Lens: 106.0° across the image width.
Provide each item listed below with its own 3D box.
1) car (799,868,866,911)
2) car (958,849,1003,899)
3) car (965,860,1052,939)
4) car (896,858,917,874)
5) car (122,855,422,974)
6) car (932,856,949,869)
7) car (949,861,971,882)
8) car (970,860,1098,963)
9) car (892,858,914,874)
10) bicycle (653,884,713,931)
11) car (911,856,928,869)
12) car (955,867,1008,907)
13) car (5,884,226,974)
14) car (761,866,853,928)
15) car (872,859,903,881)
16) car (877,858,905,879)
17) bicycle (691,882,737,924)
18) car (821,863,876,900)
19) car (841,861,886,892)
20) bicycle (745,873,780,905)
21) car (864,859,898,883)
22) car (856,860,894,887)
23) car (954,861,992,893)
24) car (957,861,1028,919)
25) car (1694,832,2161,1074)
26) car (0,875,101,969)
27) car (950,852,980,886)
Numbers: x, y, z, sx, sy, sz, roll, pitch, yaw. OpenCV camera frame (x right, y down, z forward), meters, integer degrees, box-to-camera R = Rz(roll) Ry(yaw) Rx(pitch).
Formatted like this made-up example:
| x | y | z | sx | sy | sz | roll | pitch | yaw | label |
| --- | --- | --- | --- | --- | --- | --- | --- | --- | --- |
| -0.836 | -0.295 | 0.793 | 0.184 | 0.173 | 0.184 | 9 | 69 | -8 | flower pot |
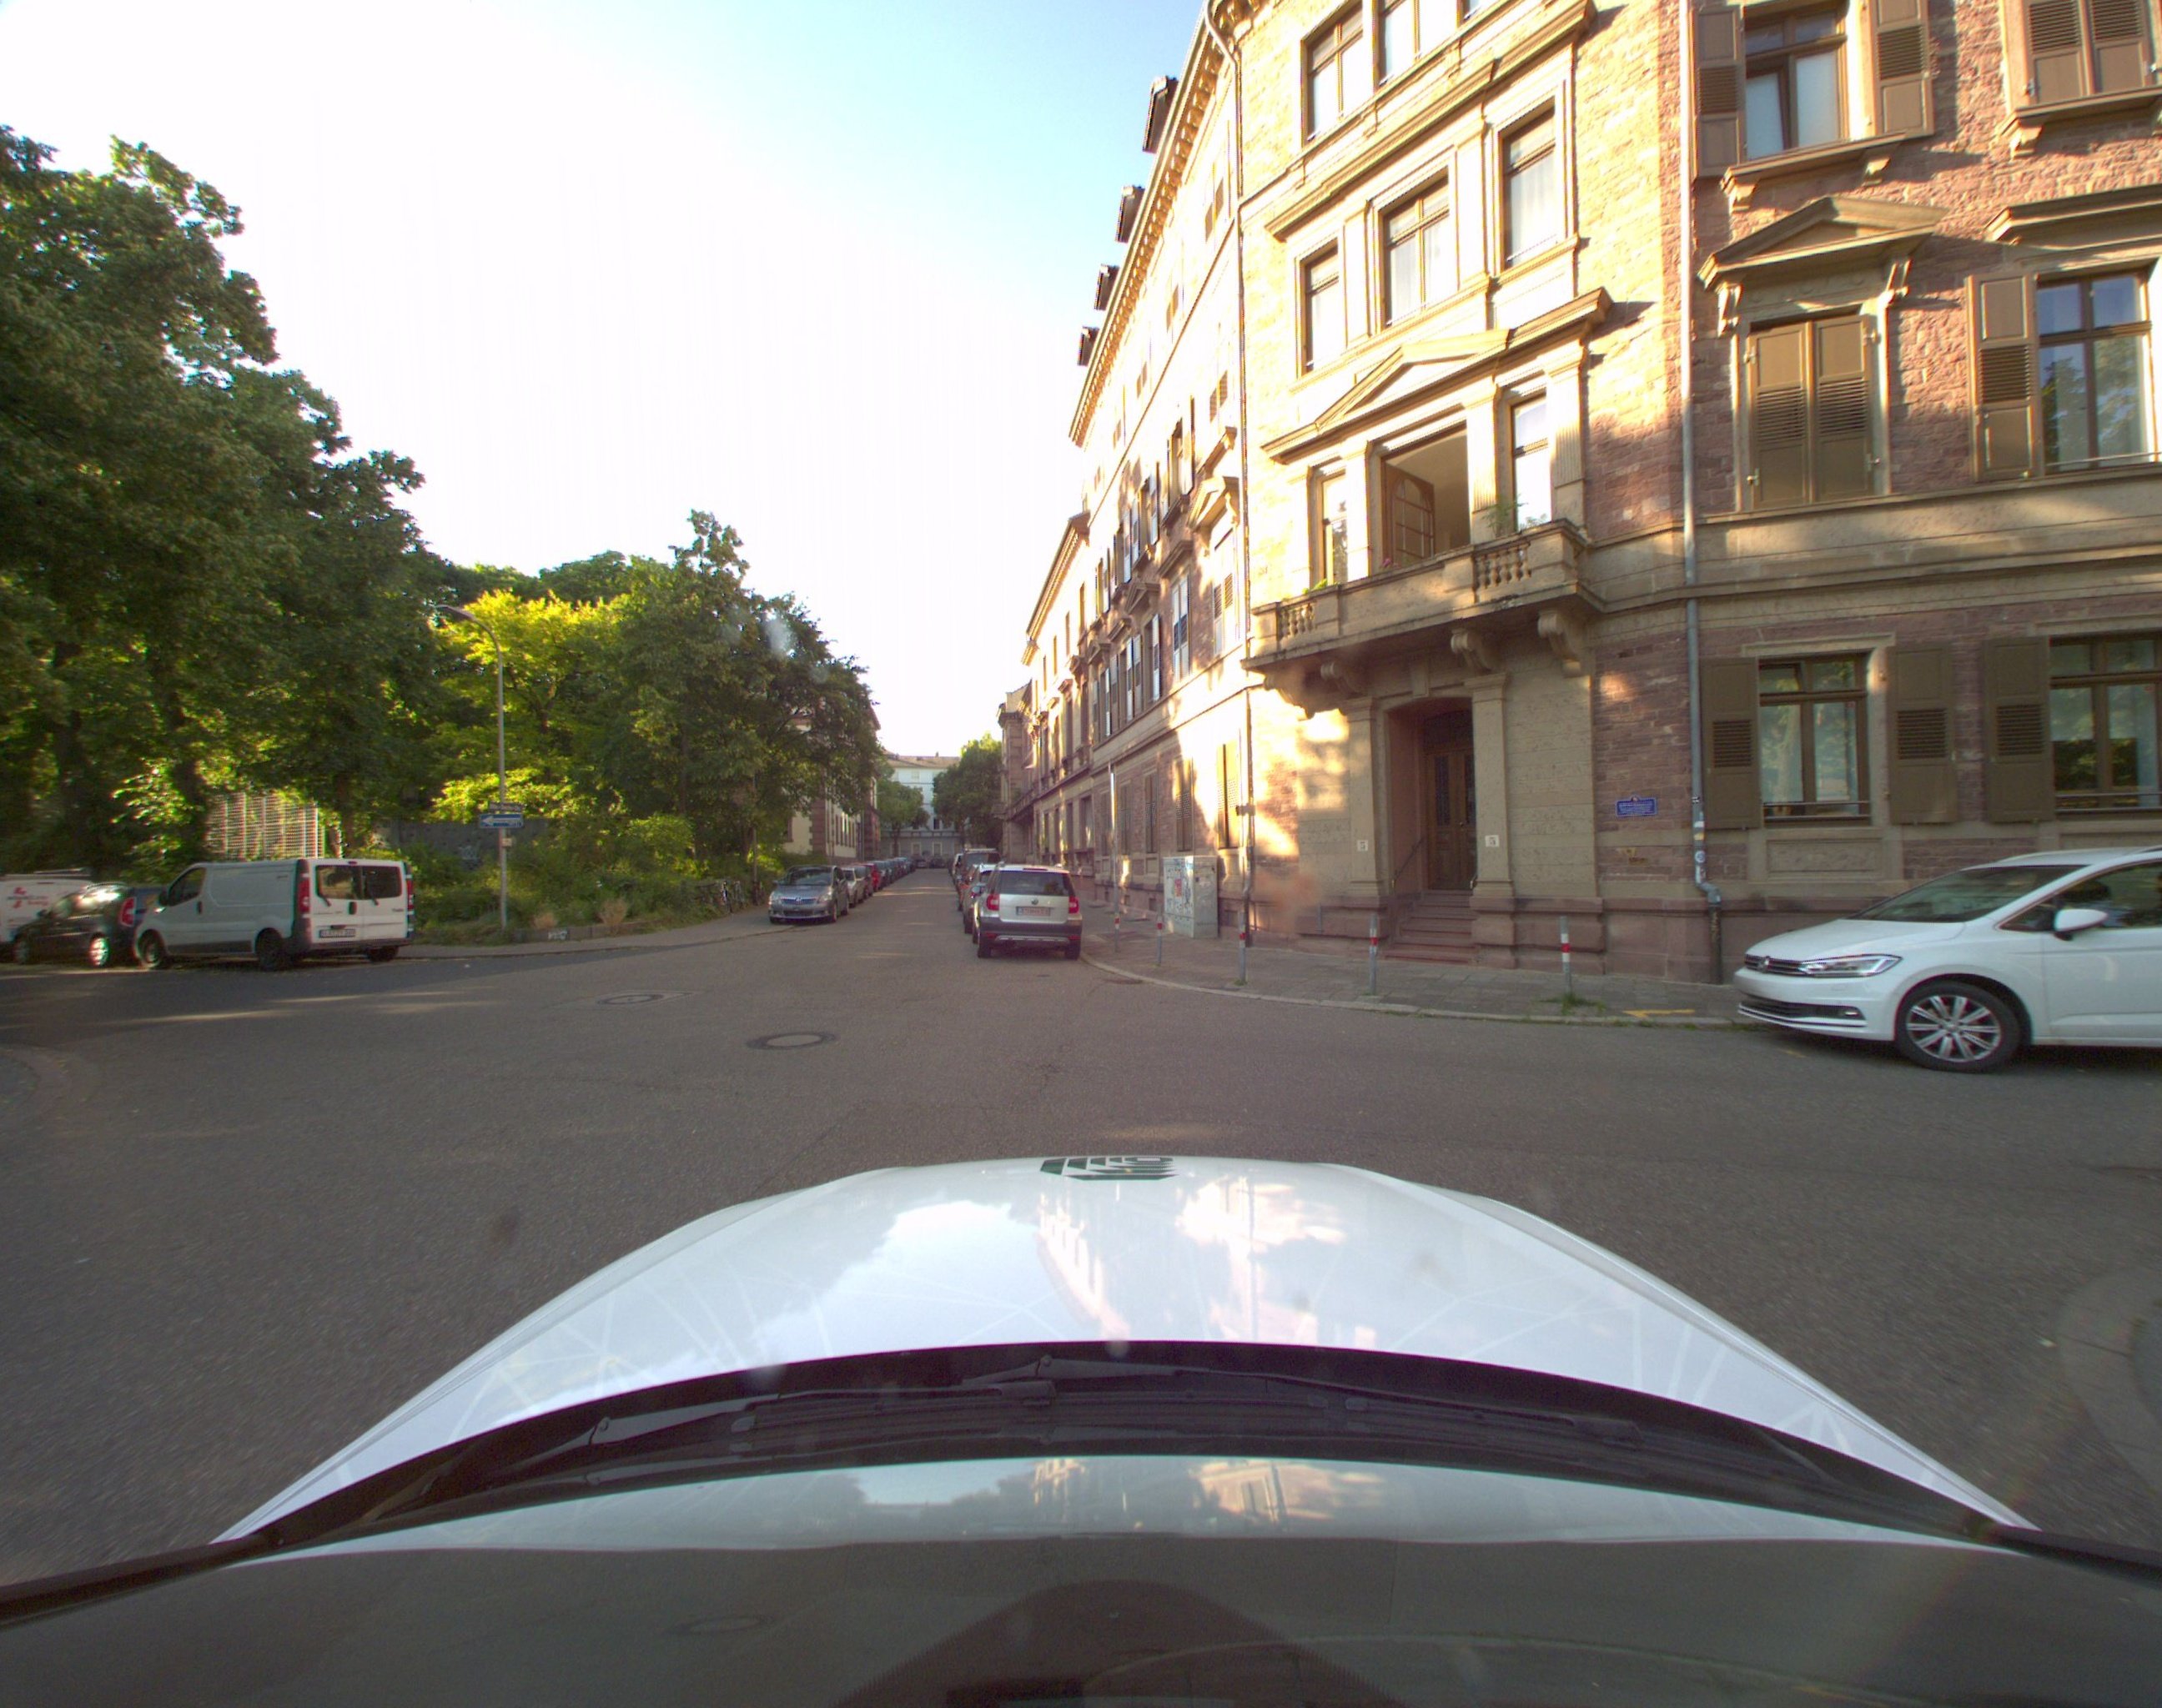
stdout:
| x | y | z | sx | sy | sz | roll | pitch | yaw | label |
| --- | --- | --- | --- | --- | --- | --- | --- | --- | --- |
| -9.279 | 1.281 | 30.692 | 1.825 | 1.447 | 3.919 | 2 | -1 | -9 | car |
| -4.554 | 0.872 | 36.635 | 1.797 | 2.072 | 3.942 | 2 | -1 | -9 | car |
| -1.930 | 1.039 | 20.528 | 1.825 | 1.724 | 4.529 | 2 | -1 | -9 | car |
| -18.054 | 1.240 | 84.513 | 1.825 | 1.500 | 3.919 | 2 | -1 | -9 | car |
| -15.185 | 1.079 | 15.343 | 4.609 | 2.003 | 1.959 | -1 | 0 | 16 | car |
| -19.604 | 1.212 | 113.300 | 1.997 | 1.684 | 3.979 | 0 | -2 | -15 | car |
| -10.352 | 1.459 | 69.516 | 1.797 | 1.728 | 3.942 | 2 | -1 | -9 | car |
| -1.042 | 0.997 | 15.567 | 1.916 | 1.657 | 4.172 | 2 | -1 | -10 | car |
| -17.328 | 1.171 | 79.479 | 1.825 | 1.500 | 3.919 | 2 | -1 | -9 | car |
| -10.532 | 1.380 | 21.635 | 0.596 | 1.101 | 2.620 | -1 | 0 | -7 | bicycle |
| -22.276 | 1.181 | 112.053 | 1.997 | 1.684 | 3.979 | 0 | -2 | -15 | car |
| -3.814 | 1.195 | 30.734 | 1.797 | 1.345 | 3.942 | 2 | -1 | -9 | car |
| -19.701 | 1.475 | 16.641 | 3.670 | 1.637 | 1.583 | -1 | 0 | 17 | car |
| -8.026 | 1.200 | 24.261 | 1.825 | 1.615 | 4.277 | 2 | -1 | -9 | car |
| -14.018 | 1.144 | 59.145 | 1.825 | 1.500 | 3.919 | 2 | -1 | -9 | car |
| -14.964 | 1.127 | 64.373 | 1.825 | 1.500 | 3.919 | 2 | -1 | -9 | car |
| -10.919 | 1.427 | 24.318 | 0.596 | 1.101 | 2.618 | -1 | 0 | -9 | bicycle |
| -10.262 | 1.165 | 36.158 | 1.825 | 1.478 | 3.919 | 2 | -1 | -9 | car |
| -11.300 | 1.151 | 42.544 | 1.825 | 1.500 | 3.919 | 2 | -1 | -9 | car |
| -11.996 | 1.294 | 30.725 | 0.596 | 1.101 | 2.620 | -1 | 0 | -8 | bicycle |
| -13.170 | 1.103 | 53.804 | 1.825 | 1.500 | 3.919 | 2 | -1 | -9 | car |
| -12.320 | 1.165 | 48.857 | 1.825 | 1.500 | 3.919 | 2 | -1 | -9 | car |
| -5.600 | 1.173 | 41.969 | 1.797 | 1.524 | 3.942 | 2 | -1 | -9 | car |
| -2.844 | 1.069 | 25.360 | 1.799 | 1.614 | 3.939 | 2 | -1 | -12 | car |
| 7.874 | 0.709 | 6.422 | 4.449 | 1.650 | 1.882 | -1 | -3 | 16 | car |
| -24.011 | 1.465 | 18.058 | 3.858 | 1.903 | 1.584 | -1 | 0 | 18 | car |
| -7.598 | 0.973 | 53.134 | 1.797 | 2.072 | 3.942 | 2 | -1 | -9 | car |
